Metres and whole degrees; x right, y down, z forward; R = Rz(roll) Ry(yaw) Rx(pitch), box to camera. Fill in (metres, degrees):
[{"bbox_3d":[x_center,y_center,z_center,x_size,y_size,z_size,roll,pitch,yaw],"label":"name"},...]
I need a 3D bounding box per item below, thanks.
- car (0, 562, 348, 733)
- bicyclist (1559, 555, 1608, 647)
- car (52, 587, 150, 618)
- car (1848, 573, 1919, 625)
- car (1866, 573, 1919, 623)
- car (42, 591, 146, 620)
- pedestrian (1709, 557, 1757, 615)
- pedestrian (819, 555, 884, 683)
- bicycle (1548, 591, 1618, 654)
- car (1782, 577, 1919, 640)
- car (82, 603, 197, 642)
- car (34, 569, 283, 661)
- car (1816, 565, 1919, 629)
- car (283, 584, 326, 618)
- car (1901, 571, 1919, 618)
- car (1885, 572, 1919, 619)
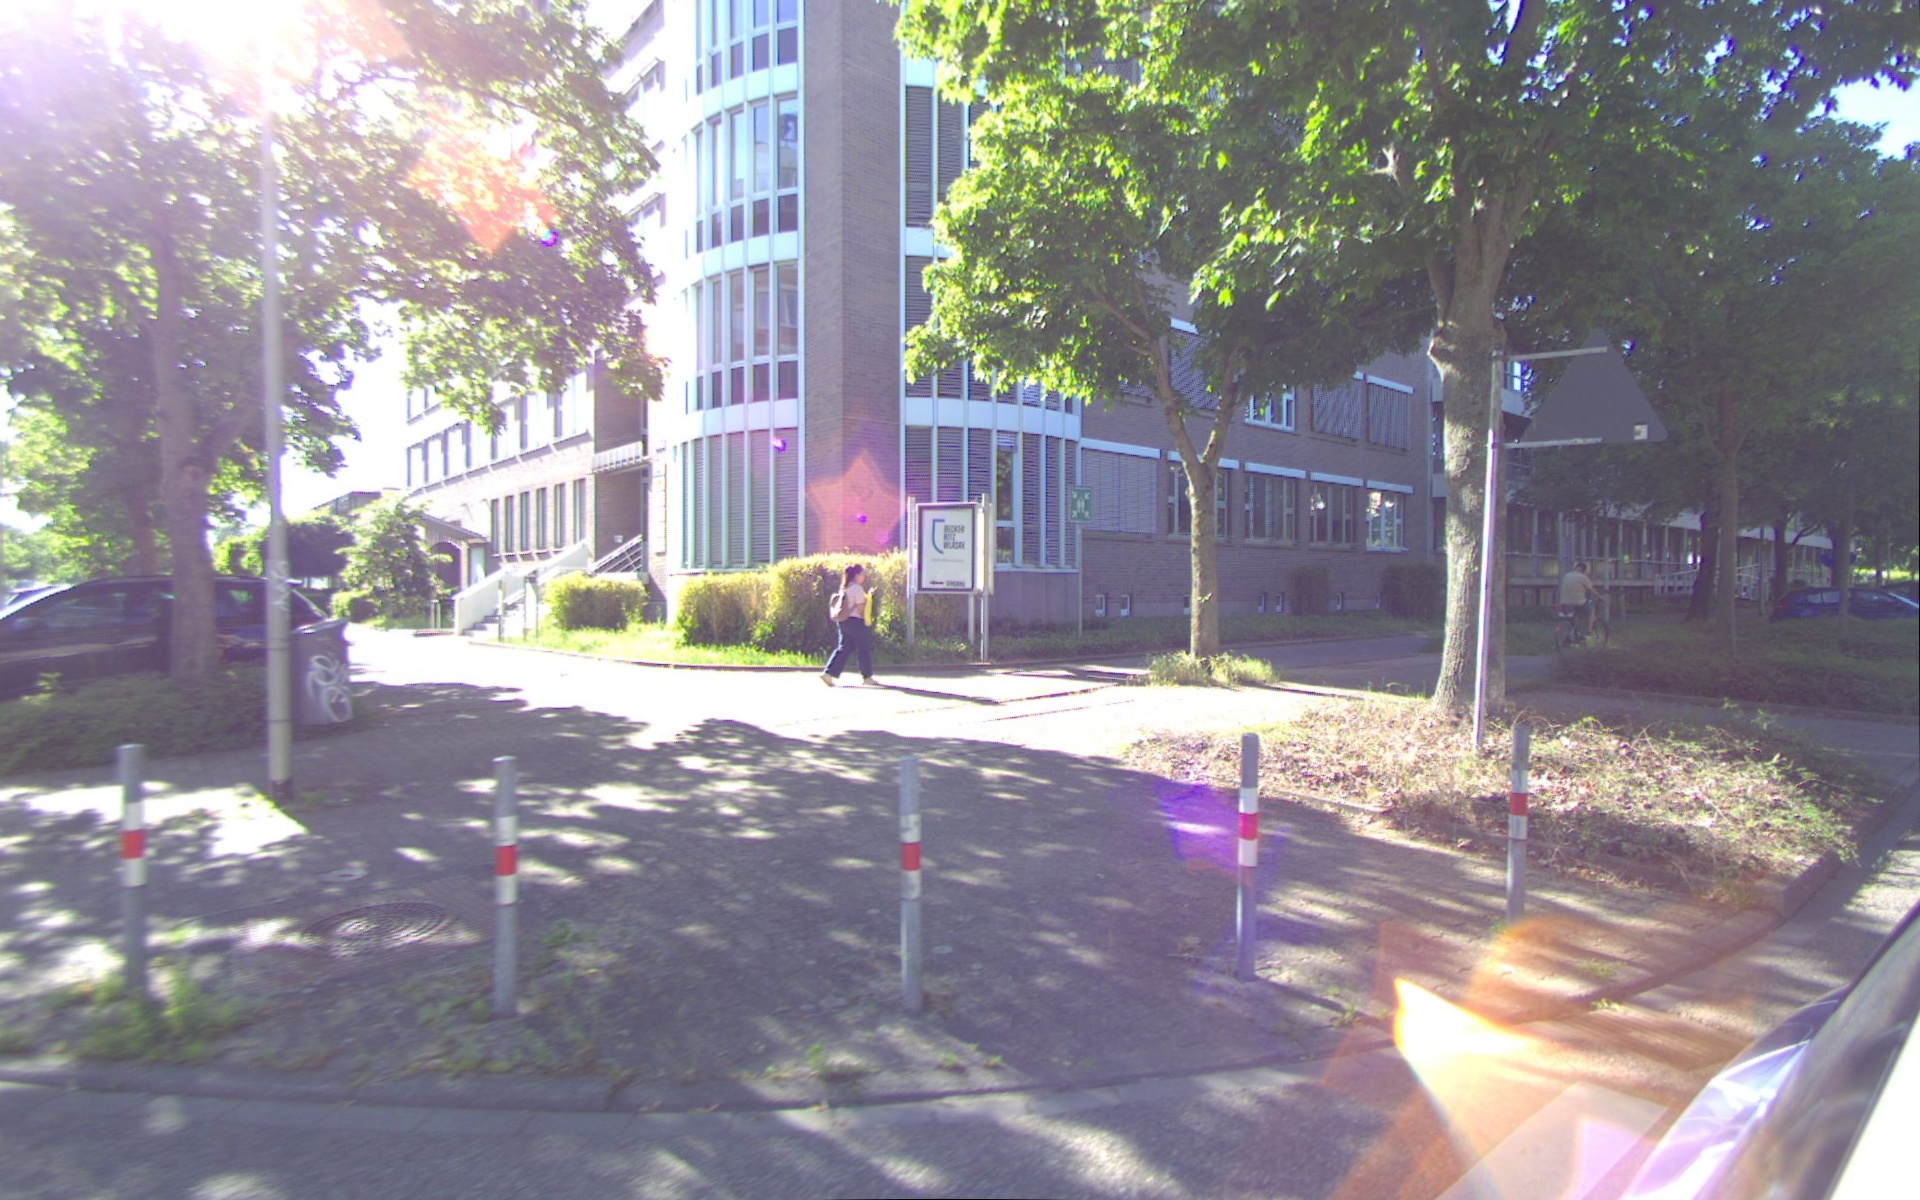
[{"bbox_3d":[-9.269,0.448,10.902,4.294,1.585,1.739,-4,2,-43],"label":"car"},{"bbox_3d":[11.551,0.006,18.734,0.808,1.657,0.538,0,0,-40],"label":"bicyclist"},{"bbox_3d":[-45.444,0.110,53.581,3.846,1.462,1.533,-2,2,-44],"label":"car"},{"bbox_3d":[29.309,0.004,30.146,1.633,1.479,4.129,-1,3,-44],"label":"car"},{"bbox_3d":[31.271,-0.040,31.746,1.806,1.536,4.129,0,2,-44],"label":"car"},{"bbox_3d":[-42.663,0.256,49.922,3.845,1.331,1.532,-1,1,-44],"label":"car"},{"bbox_3d":[25.004,-0.446,32.736,1.001,1.821,1.036,-1,-1,-41],"label":"pedestrian"},{"bbox_3d":[-1.395,0.230,12.999,0.537,1.602,0.639,0,0,40],"label":"pedestrian"},{"bbox_3d":[11.532,0.393,18.718,1.885,1.092,0.535,-1,1,-40],"label":"bicycle"},{"bbox_3d":[22.480,0.209,24.260,1.627,1.387,4.120,-1,3,-43],"label":"car"},{"bbox_3d":[-35.770,0.951,44.194,3.842,1.462,1.534,-2,2,-41],"label":"car"},{"bbox_3d":[-16.737,0.255,21.421,3.926,1.604,1.704,-4,2,-35],"label":"car"},{"bbox_3d":[25.921,-0.079,27.325,1.633,1.609,4.129,-3,5,-44],"label":"car"},{"bbox_3d":[-30.673,0.005,47.302,1.508,1.462,3.909,-2,2,-35],"label":"car"},{"bbox_3d":[36.147,-0.183,35.810,1.876,1.687,4.127,-1,1,-44],"label":"car"},{"bbox_3d":[33.912,-0.136,33.974,1.683,1.604,3.997,-1,2,-38],"label":"car"}]
